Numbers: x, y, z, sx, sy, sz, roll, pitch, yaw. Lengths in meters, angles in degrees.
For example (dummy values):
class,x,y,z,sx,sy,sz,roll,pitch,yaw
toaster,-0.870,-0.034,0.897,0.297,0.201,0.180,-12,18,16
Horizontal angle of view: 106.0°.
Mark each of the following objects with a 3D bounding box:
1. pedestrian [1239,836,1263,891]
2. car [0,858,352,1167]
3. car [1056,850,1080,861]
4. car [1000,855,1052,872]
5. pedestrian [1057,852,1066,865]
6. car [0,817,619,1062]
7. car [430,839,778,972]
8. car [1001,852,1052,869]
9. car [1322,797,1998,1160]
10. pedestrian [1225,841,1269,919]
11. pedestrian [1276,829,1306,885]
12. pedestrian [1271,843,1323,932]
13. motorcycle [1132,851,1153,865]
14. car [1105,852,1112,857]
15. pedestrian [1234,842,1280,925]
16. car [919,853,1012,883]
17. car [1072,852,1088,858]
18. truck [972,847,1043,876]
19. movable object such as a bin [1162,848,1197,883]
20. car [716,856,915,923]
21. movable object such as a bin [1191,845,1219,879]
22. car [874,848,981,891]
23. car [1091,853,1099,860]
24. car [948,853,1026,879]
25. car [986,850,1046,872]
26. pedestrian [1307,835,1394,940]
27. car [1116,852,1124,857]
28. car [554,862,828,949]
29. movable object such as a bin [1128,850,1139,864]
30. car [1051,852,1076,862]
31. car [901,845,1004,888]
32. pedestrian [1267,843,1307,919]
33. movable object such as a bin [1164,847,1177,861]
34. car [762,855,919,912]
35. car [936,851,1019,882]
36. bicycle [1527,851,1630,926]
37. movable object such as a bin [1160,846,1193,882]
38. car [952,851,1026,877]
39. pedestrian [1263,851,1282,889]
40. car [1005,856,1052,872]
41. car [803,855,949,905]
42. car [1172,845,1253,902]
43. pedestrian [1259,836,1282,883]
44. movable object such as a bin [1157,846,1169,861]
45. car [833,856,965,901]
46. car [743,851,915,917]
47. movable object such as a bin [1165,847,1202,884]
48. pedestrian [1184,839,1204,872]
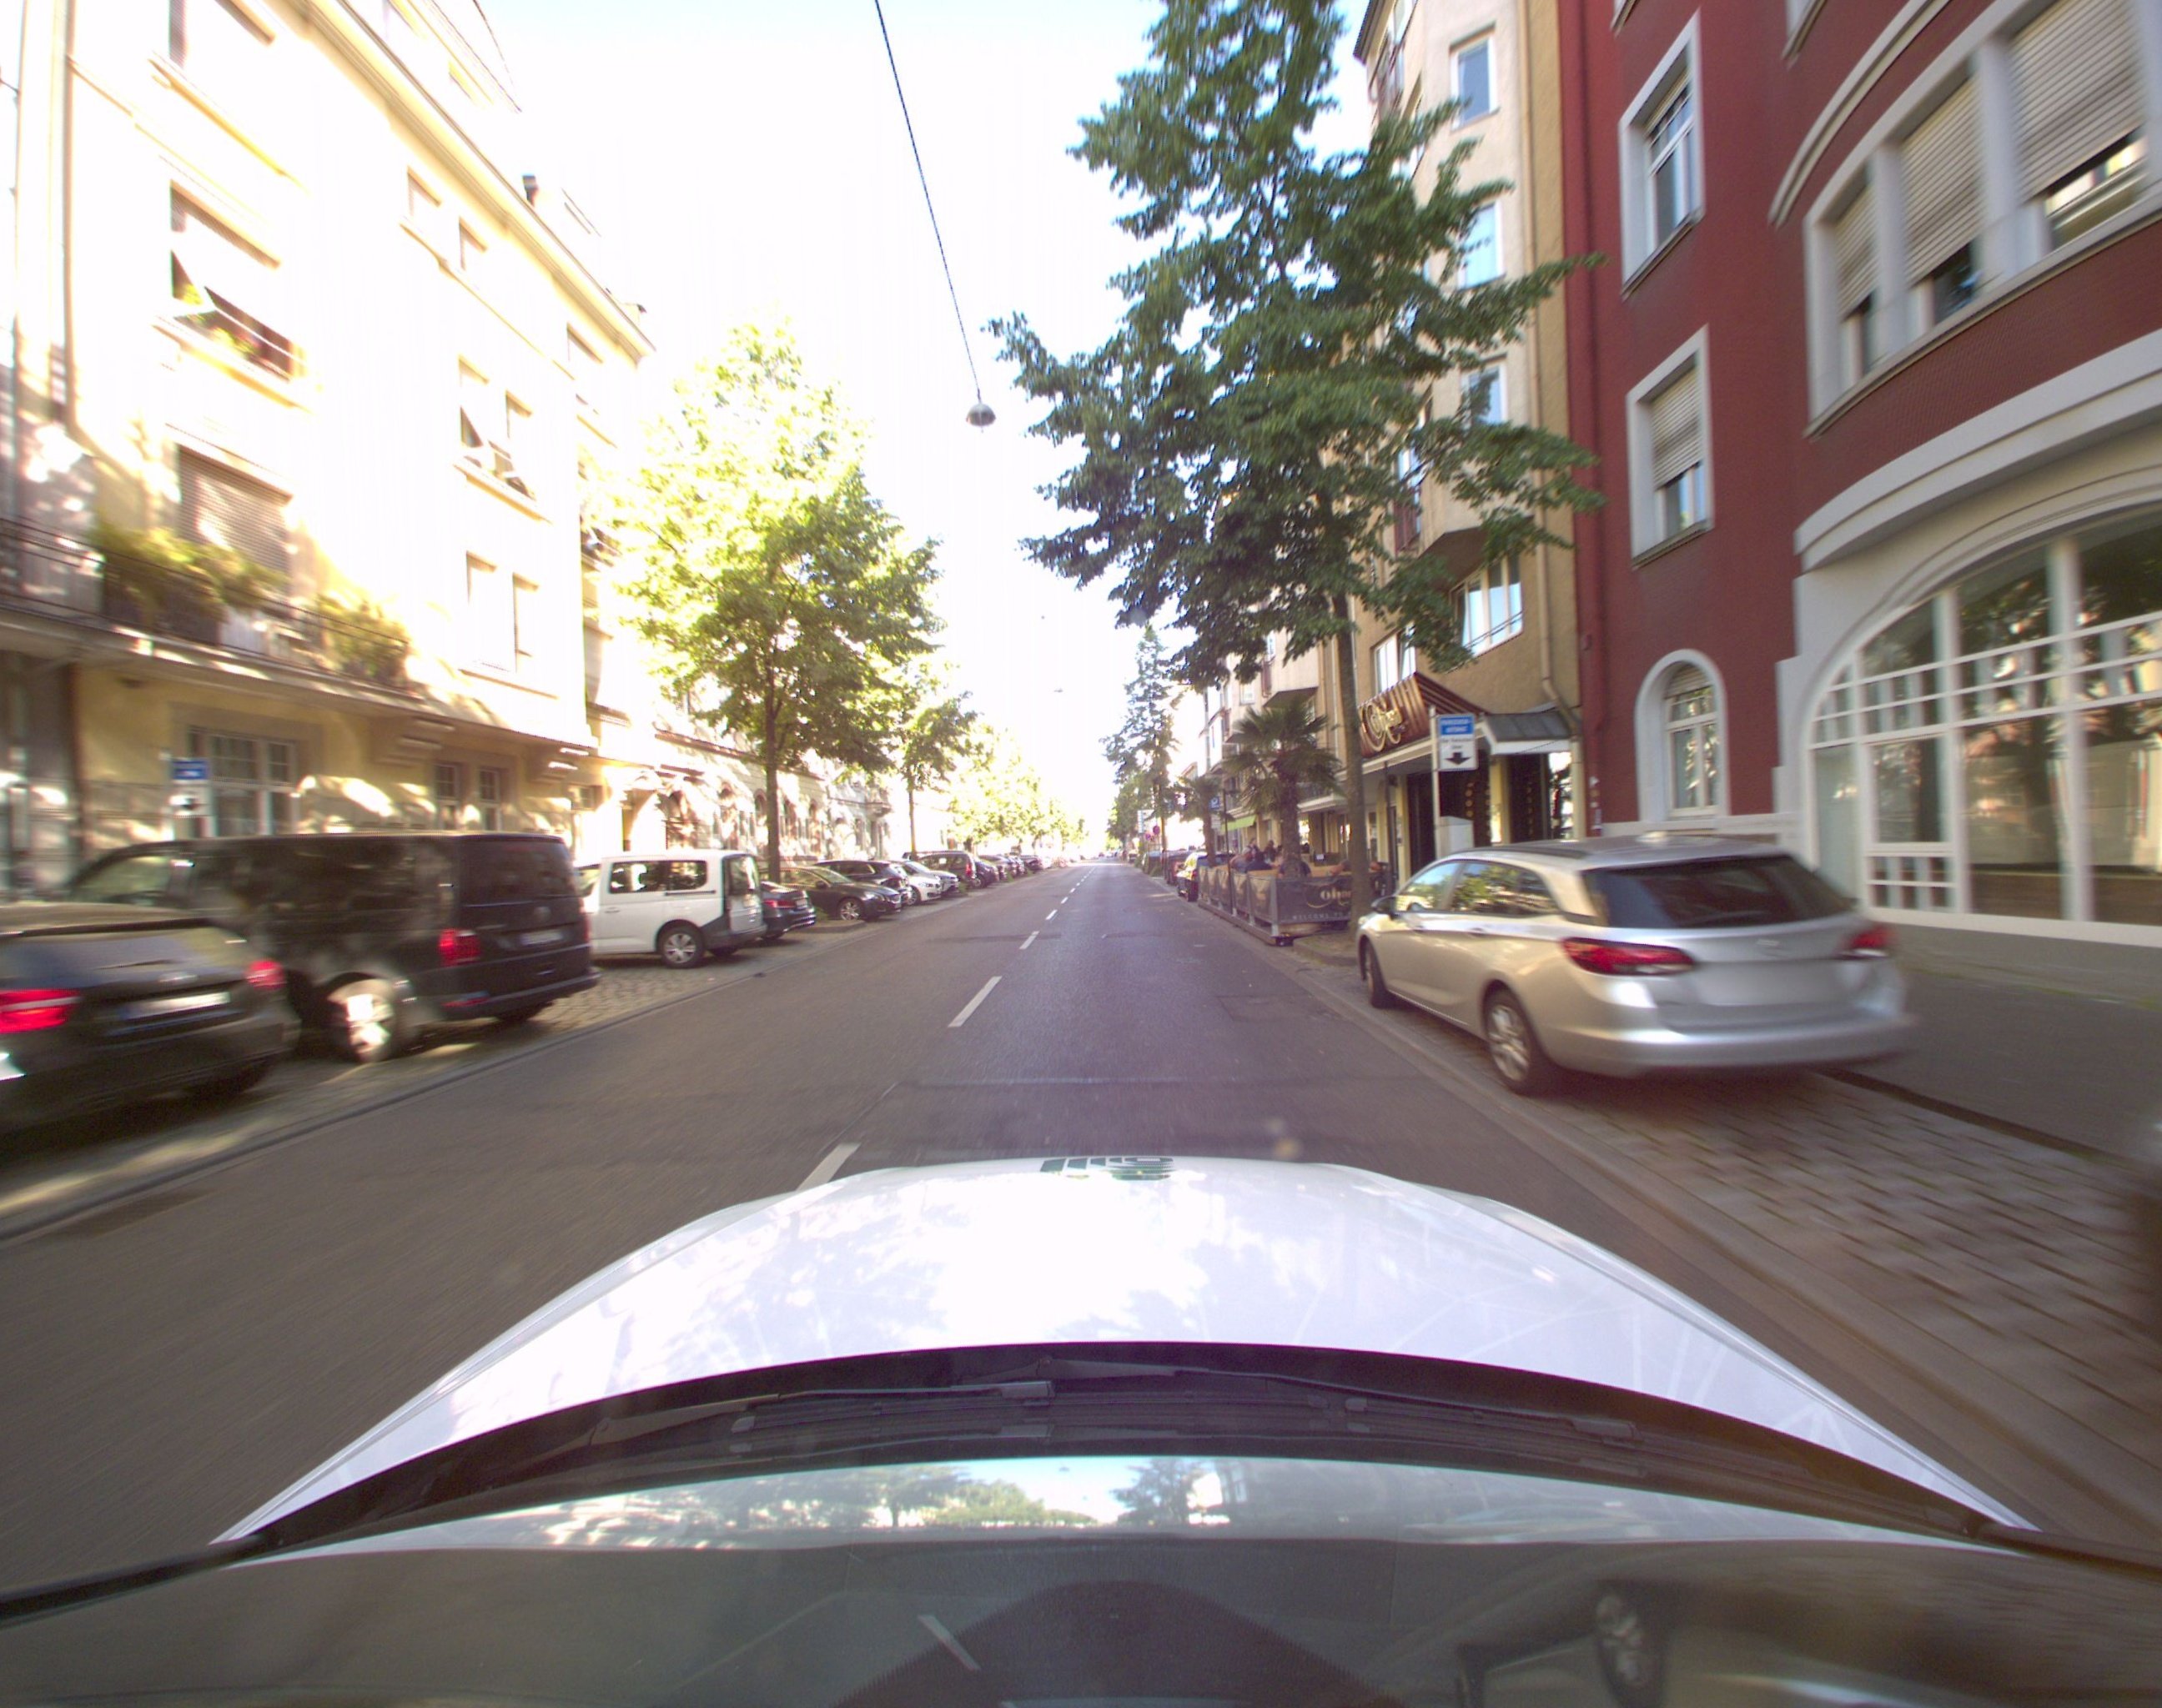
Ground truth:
class,x,y,z,sx,sy,sz,roll,pitch,yaw
pedestrian,5.429,0.304,26.077,0.613,1.695,0.763,-3,0,7
car,-7.689,0.889,5.164,4.326,1.595,1.916,-2,0,-1
car,-2.361,0.237,145.990,3.966,1.694,2.004,-2,0,6
car,-5.068,0.870,75.555,4.667,1.465,1.807,-2,0,-2
pedestrian,-2.425,0.565,101.649,0.797,1.707,0.759,-1,0,-31
car,-7.246,0.723,7.734,4.557,1.927,1.930,-2,0,1
car,-7.396,0.751,13.052,4.333,1.834,1.913,-2,0,-6
car,-5.205,0.619,78.185,4.667,1.465,1.807,-2,0,-2
car,3.476,0.591,6.309,1.815,1.596,4.844,-5,0,2
pedestrian,3.451,0.528,16.990,0.648,1.536,0.980,-3,0,0
pedestrian,6.438,0.091,24.962,0.506,1.695,0.623,-2,0,-35
pedestrian,3.845,0.583,14.563,0.690,1.536,0.777,-3,0,3
motorcycle,6.393,0.386,84.475,1.978,1.330,0.908,-3,0,-11
car,7.523,0.087,220.666,1.786,1.411,4.002,-2,0,2
pedestrian,3.403,0.560,15.691,0.743,1.536,0.811,-3,0,16
car,-6.138,0.737,43.594,4.628,1.459,1.684,-2,0,1
car,-0.247,0.184,213.723,3.973,1.500,2.000,-2,0,0
truck,-5.589,0.556,62.190,5.067,1.938,2.000,-3,0,1
movable object such as a bin,4.273,0.494,35.458,1.393,1.454,1.146,-3,0,2
car,-6.789,0.885,21.120,4.447,1.541,1.918,-2,0,3
movable object such as a bin,5.563,0.355,36.599,1.073,1.431,1.296,-3,0,2
car,-7.032,0.701,37.513,4.447,1.772,1.918,-2,0,3
car,3.300,0.641,189.060,1.796,1.435,4.410,-5,0,1
car,-5.944,0.740,51.970,4.661,1.519,1.809,-2,0,3
car,-5.356,0.557,67.505,4.661,1.693,1.809,-2,0,3
pedestrian,4.182,0.507,12.711,1.051,1.536,0.893,-3,0,6
car,11.161,0.177,232.007,1.986,1.508,4.001,-2,-1,1
car,-7.389,0.953,15.781,4.326,1.439,1.916,-2,0,-1
movable object such as a bin,6.126,0.301,94.823,1.135,1.562,1.463,-3,0,10
car,-2.828,0.510,133.080,3.973,1.390,2.000,-2,0,0
car,-6.328,0.617,40.420,4.661,1.950,1.918,-2,0,3
pedestrian,4.296,0.547,16.944,0.706,1.536,0.773,-3,0,16
movable object such as a bin,9.942,-0.021,90.801,1.266,1.530,1.176,-3,0,0
car,-7.501,0.900,25.653,4.323,1.582,1.809,-2,0,1
car,-6.223,0.726,49.248,4.661,1.712,1.809,-2,0,3
bicycle,7.238,0.471,11.929,0.472,1.001,1.701,-3,0,2
movable object such as a bin,4.263,0.458,36.623,1.325,1.542,1.146,-3,0,2
car,-6.122,0.635,54.502,4.661,1.572,1.809,-2,0,3
pedestrian,6.023,0.486,25.588,0.439,1.163,0.504,-3,0,26
car,-5.339,1.016,83.519,4.667,1.412,1.807,-2,0,-2
car,-6.976,0.881,28.060,4.450,1.541,1.917,-2,0,1
car,4.022,0.547,25.734,1.815,1.472,4.914,-5,0,2
pedestrian,6.769,0.196,29.162,0.614,1.642,0.763,-3,0,3
movable object such as a bin,9.285,-0.006,92.184,1.201,1.627,1.498,-3,0,0
car,-6.843,0.906,30.835,4.445,1.541,1.919,-2,0,5
car,-7.209,0.829,23.618,4.323,1.709,1.917,-2,0,1
movable object such as a bin,4.302,0.483,34.294,1.393,1.454,1.146,-3,0,2
pedestrian,6.902,0.083,49.819,0.916,1.935,0.765,-2,0,27
